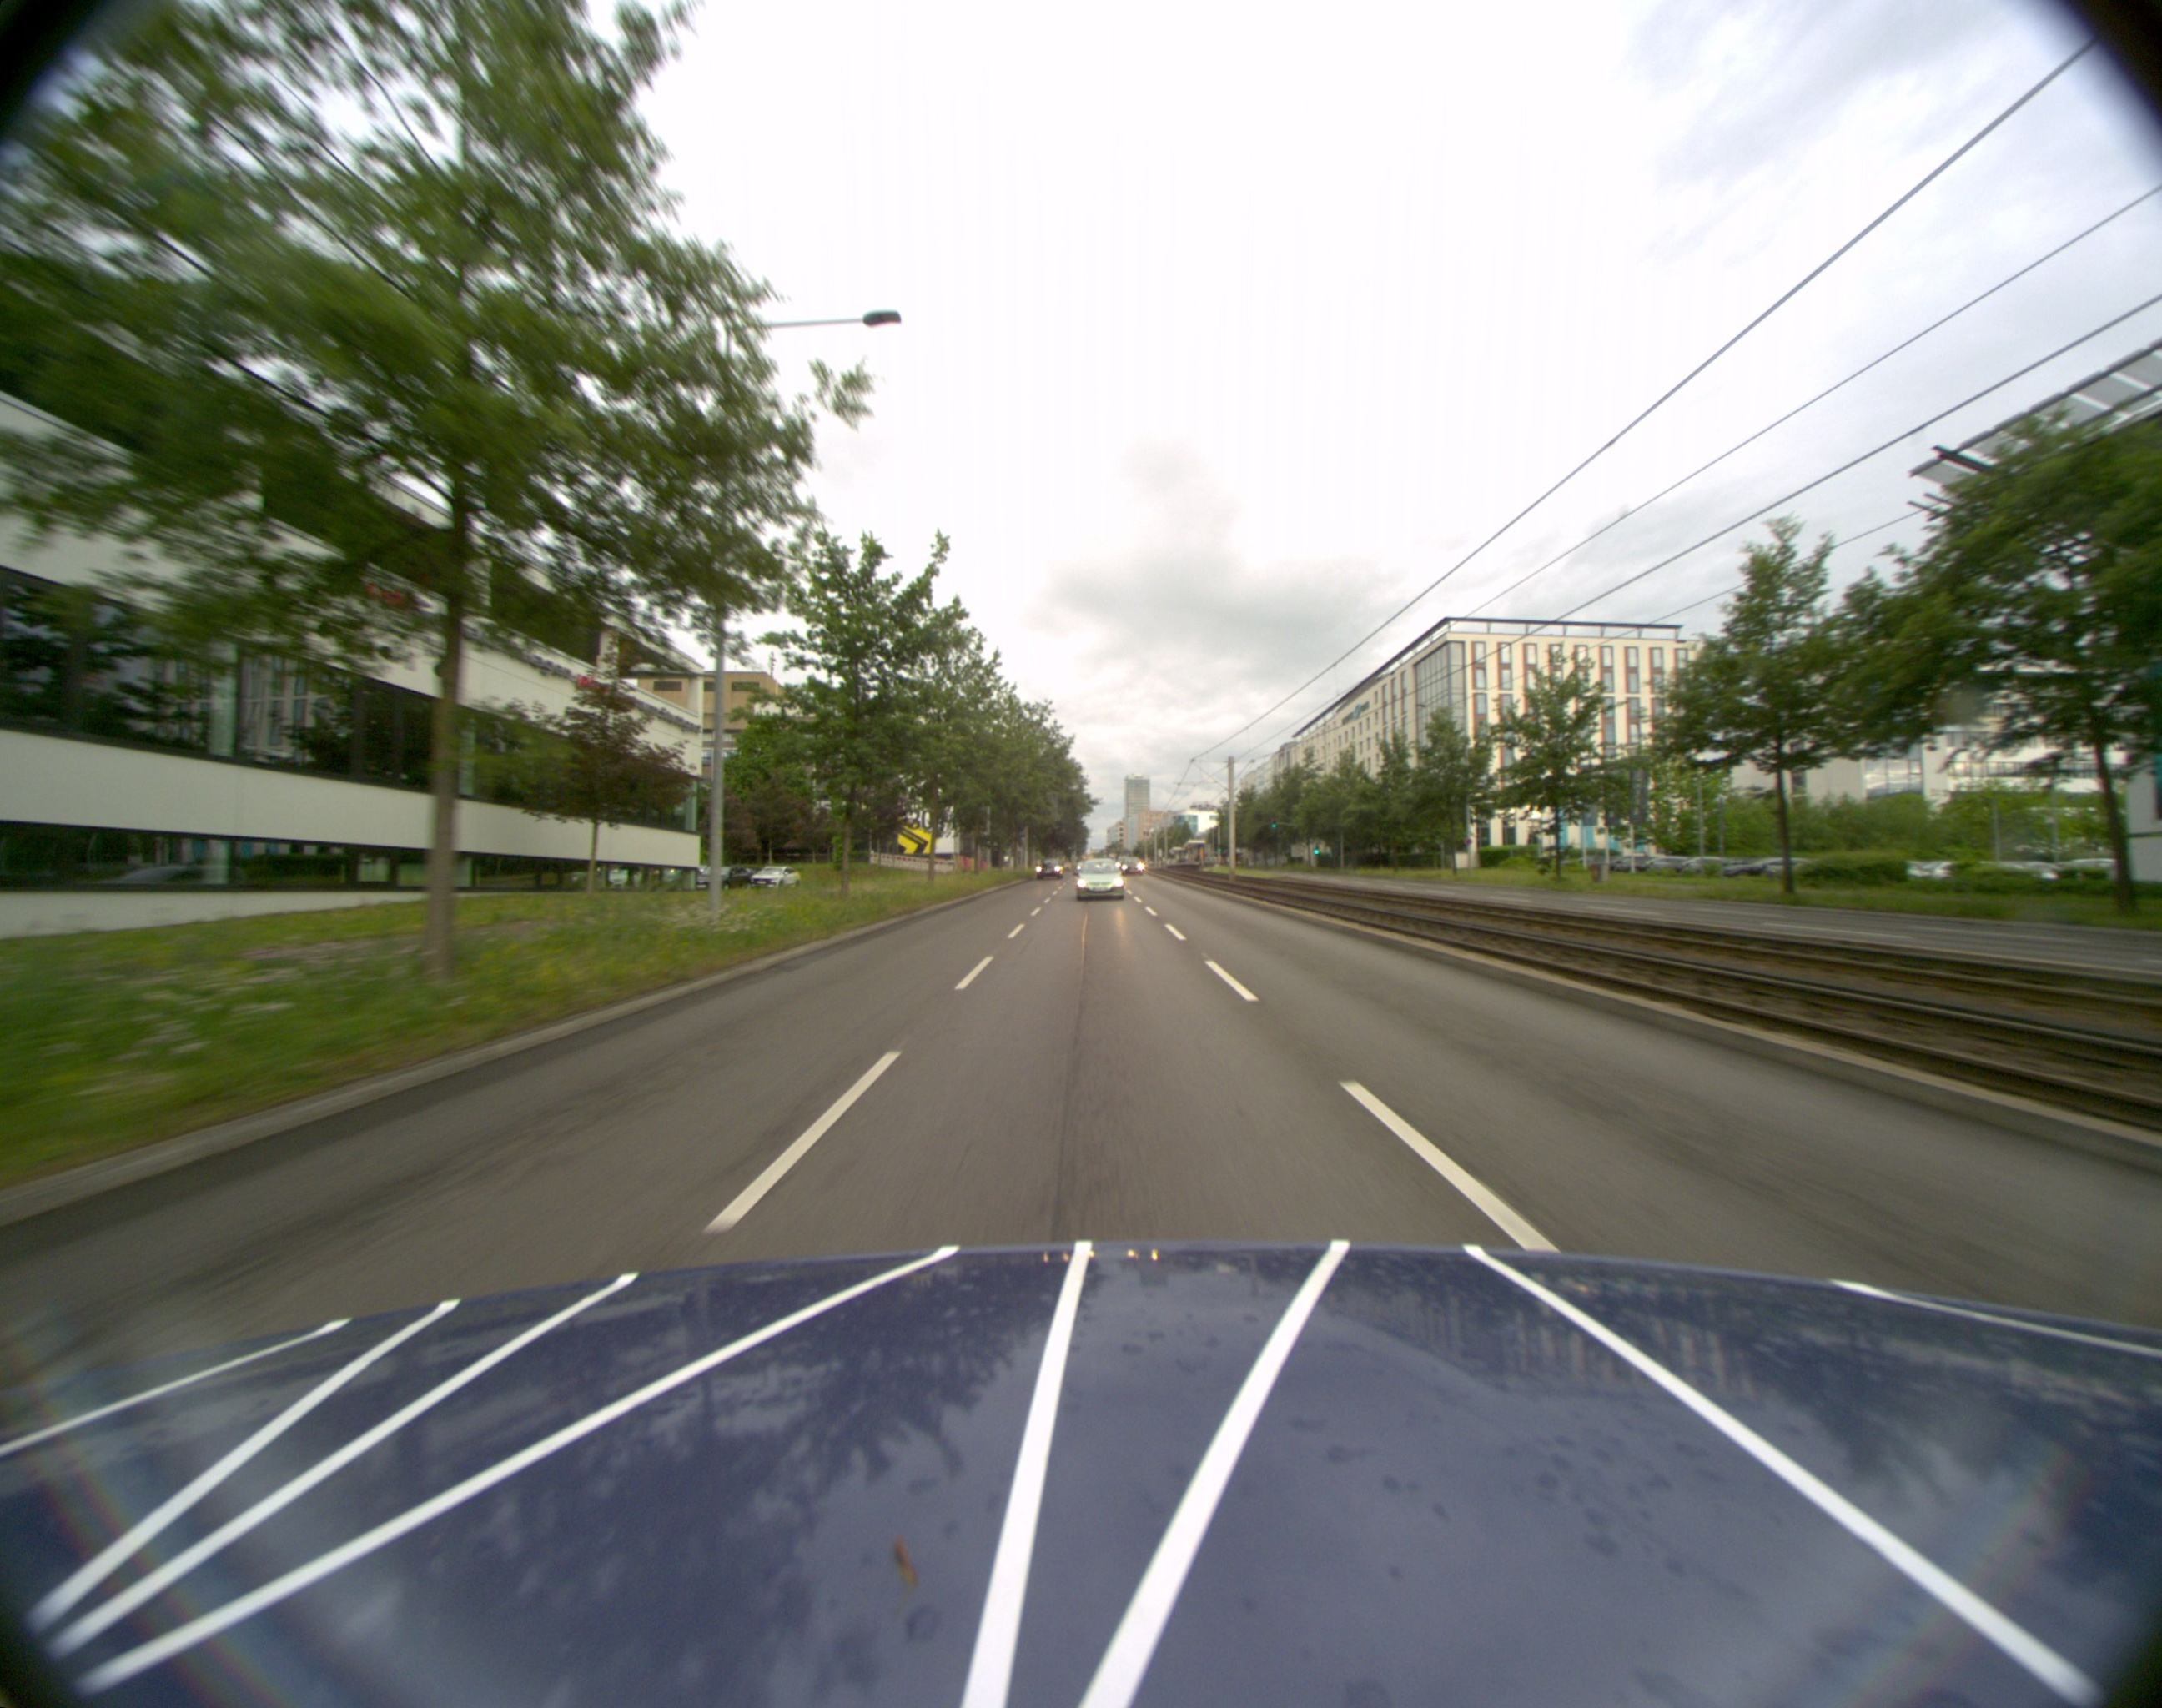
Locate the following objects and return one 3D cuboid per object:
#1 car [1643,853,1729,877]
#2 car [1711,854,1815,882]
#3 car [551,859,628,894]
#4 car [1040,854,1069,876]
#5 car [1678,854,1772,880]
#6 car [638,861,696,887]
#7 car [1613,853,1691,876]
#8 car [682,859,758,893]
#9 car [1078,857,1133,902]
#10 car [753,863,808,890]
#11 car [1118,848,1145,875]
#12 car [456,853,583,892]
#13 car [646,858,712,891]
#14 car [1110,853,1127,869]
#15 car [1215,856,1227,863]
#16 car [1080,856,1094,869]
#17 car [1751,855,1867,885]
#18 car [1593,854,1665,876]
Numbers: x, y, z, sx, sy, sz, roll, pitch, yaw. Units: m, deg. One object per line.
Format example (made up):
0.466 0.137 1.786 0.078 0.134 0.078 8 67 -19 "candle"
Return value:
38.669 0.723 48.689 3.990 1.383 1.767 -2 1 28 "car"
38.086 0.802 42.554 3.990 1.383 1.806 -2 1 28 "car"
-26.638 1.175 41.336 1.702 1.666 3.642 -4 1 0 "car"
-2.036 0.904 58.907 1.828 1.599 4.116 -2 -2 4 "car"
38.525 0.756 45.598 3.990 1.383 1.806 -2 1 28 "car"
-27.003 1.275 49.700 1.702 1.476 3.642 -2 1 0 "car"
38.718 0.695 51.640 3.990 1.383 1.806 -2 1 28 "car"
-19.594 1.146 41.473 1.907 1.666 4.589 1 1 0 "car"
0.994 0.929 28.612 1.828 1.499 4.116 -2 -1 4 "car"
-19.410 1.409 49.204 1.702 1.476 4.461 -2 1 0 "car"
4.135 0.569 62.270 1.998 2.002 4.000 -3 1 4 "car"
-26.919 0.962 36.589 1.698 1.665 4.543 -2 -5 38 "car"
-22.182 1.116 42.063 1.702 1.666 3.642 1 1 0 "car"
4.470 0.828 90.099 1.860 1.798 4.116 -2 -2 4 "car"
26.257 0.992 142.609 1.701 1.356 3.818 2 0 4 "car"
0.926 1.284 116.352 1.860 1.798 4.116 -2 -2 3 "car"
37.983 0.830 39.789 3.990 1.383 1.806 -2 1 24 "car"
39.390 0.801 54.709 3.990 1.383 1.806 -2 1 28 "car"
